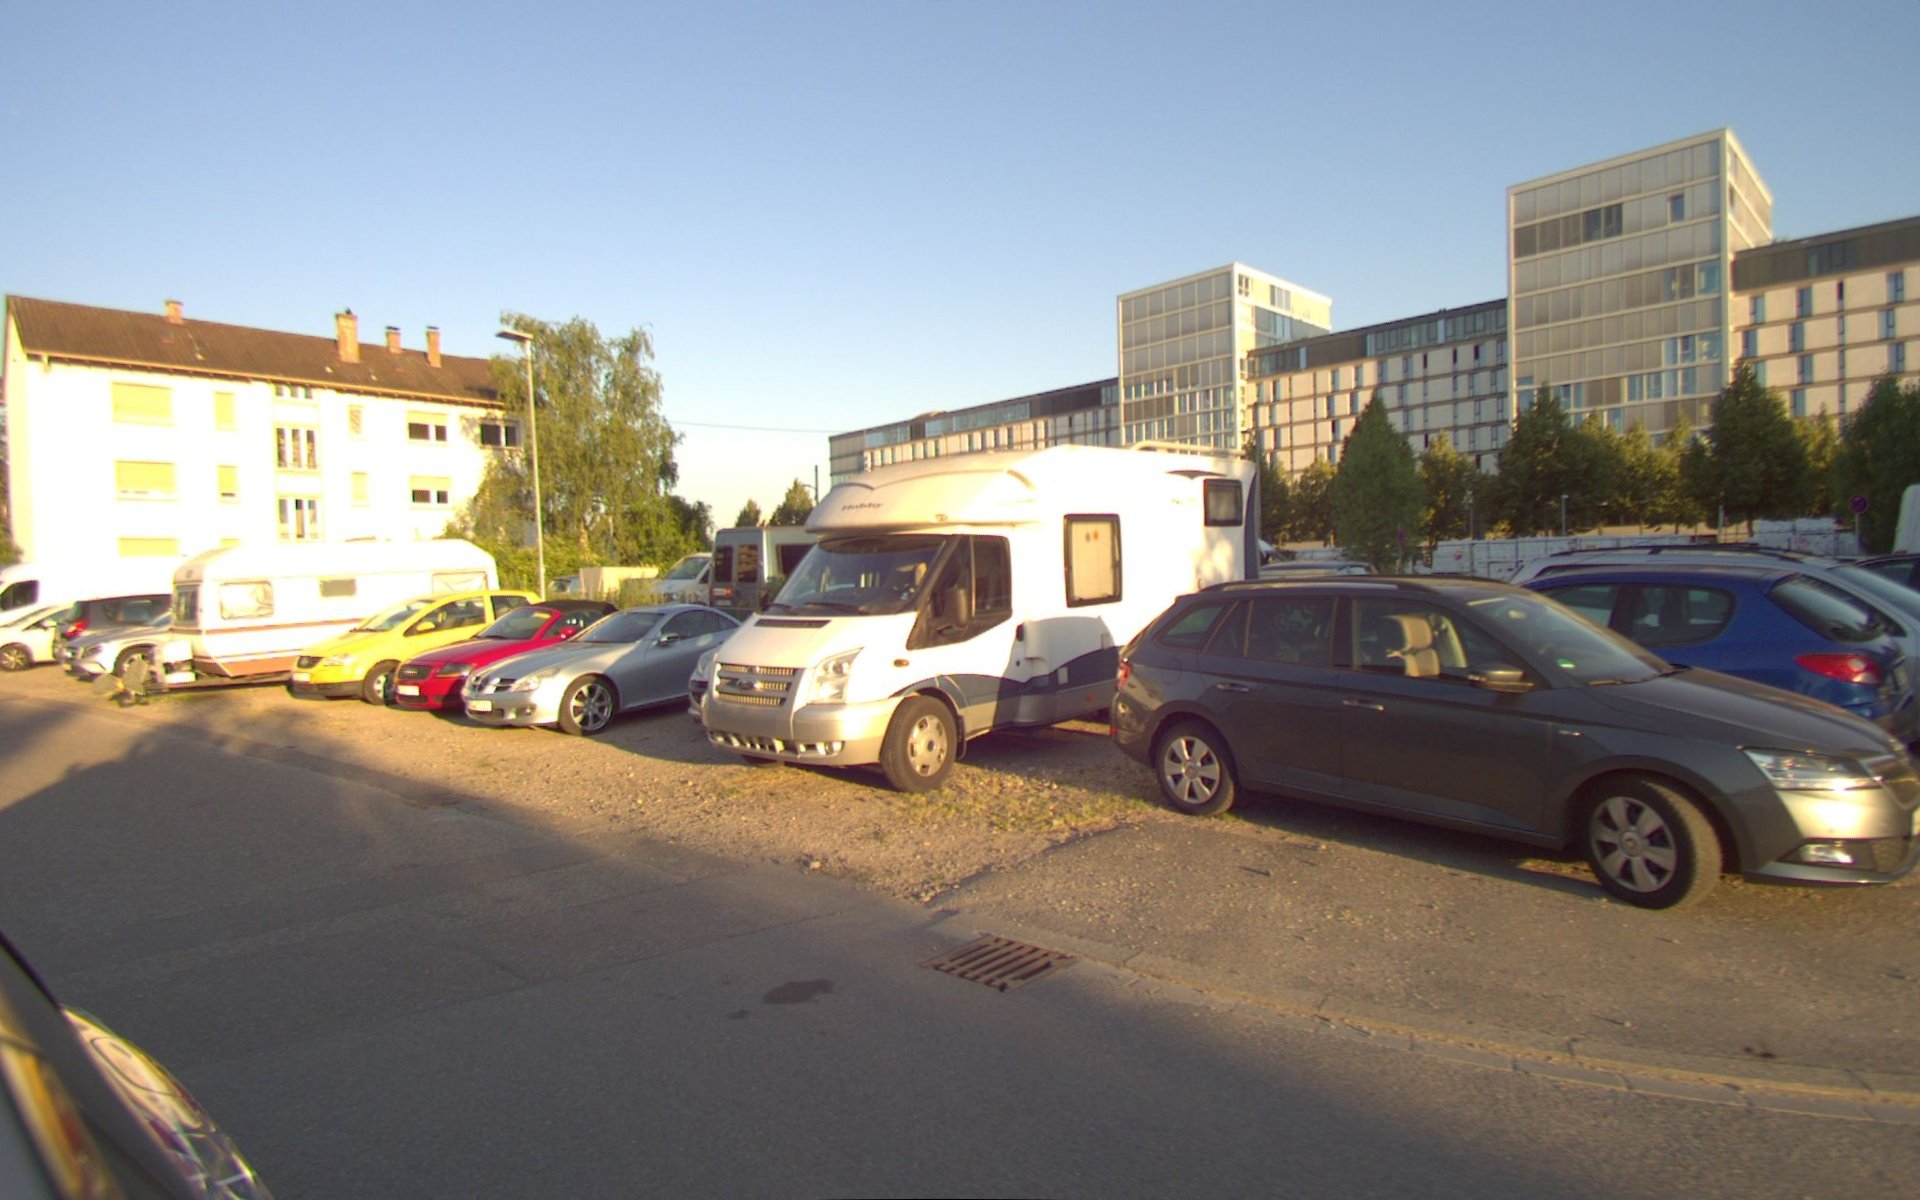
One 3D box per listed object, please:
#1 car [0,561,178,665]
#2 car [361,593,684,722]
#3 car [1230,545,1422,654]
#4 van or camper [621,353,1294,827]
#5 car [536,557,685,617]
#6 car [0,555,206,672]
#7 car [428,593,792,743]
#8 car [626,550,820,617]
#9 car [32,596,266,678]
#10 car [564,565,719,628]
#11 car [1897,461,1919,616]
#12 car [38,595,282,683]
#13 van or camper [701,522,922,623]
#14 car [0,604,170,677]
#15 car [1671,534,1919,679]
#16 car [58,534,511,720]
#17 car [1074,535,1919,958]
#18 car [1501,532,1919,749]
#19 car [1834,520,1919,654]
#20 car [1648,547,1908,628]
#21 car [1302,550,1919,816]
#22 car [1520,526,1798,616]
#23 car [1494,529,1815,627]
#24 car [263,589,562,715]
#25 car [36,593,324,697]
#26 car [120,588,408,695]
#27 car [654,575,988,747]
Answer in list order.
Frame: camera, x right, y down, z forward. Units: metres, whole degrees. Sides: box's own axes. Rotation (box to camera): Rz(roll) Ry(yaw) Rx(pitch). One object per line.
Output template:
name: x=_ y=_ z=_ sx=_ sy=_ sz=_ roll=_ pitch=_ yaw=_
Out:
car: x=-26.578 y=0.352 z=28.894 sx=2.102 sy=2.733 sz=6.353 roll=0 pitch=3 yaw=26
car: x=-5.854 y=0.687 z=13.919 sx=1.701 sy=1.377 sz=3.694 roll=-2 pitch=2 yaw=35
car: x=5.712 y=-0.066 z=15.600 sx=1.515 sy=1.458 sz=3.400 roll=-1 pitch=2 yaw=44
van or camper: x=0.535 y=-0.176 z=9.526 sx=2.408 sy=2.919 sz=6.669 roll=-1 pitch=1 yaw=42
car: x=-9.751 y=-0.393 z=28.424 sx=1.664 sy=1.487 sz=3.568 roll=-1 pitch=2 yaw=40
car: x=-23.357 y=0.313 z=26.126 sx=2.043 sy=2.733 sz=5.784 roll=-2 pitch=2 yaw=31
car: x=-3.995 y=0.685 z=12.067 sx=1.690 sy=1.338 sz=3.773 roll=-2 pitch=2 yaw=37
car: x=-5.911 y=-0.438 z=25.557 sx=4.317 sy=1.487 sz=1.983 roll=-4 pitch=2 yaw=-45
car: x=-18.834 y=0.782 z=23.665 sx=1.743 sy=1.602 sz=3.894 roll=0 pitch=2 yaw=33
car: x=-8.468 y=-0.110 z=27.095 sx=1.664 sy=1.487 sz=3.568 roll=-1 pitch=2 yaw=40
car: x=20.351 y=-1.102 z=16.696 sx=2.180 sy=2.822 sz=6.993 roll=-3 pitch=3 yaw=-42
car: x=-17.230 y=0.779 z=21.931 sx=1.748 sy=1.602 sz=3.884 roll=-1 pitch=1 yaw=42
van or camper: x=-3.006 y=-0.611 z=21.252 sx=1.932 sy=1.905 sz=4.291 roll=-1 pitch=2 yaw=42
car: x=-21.577 y=0.940 z=24.178 sx=1.785 sy=1.518 sz=3.893 roll=-1 pitch=2 yaw=34
car: x=10.627 y=0.032 z=11.057 sx=1.643 sy=1.490 sz=4.411 roll=-4 pitch=5 yaw=-43
car: x=-11.071 y=0.224 z=17.102 sx=2.409 sy=2.552 sz=5.831 roll=0 pitch=3 yaw=39
car: x=2.830 y=0.500 z=5.715 sx=1.666 sy=1.530 sz=4.368 roll=-4 pitch=2 yaw=-40
car: x=6.847 y=0.234 z=8.026 sx=1.643 sy=1.490 sz=4.210 roll=-4 pitch=4 yaw=-42
car: x=13.228 y=-0.140 z=11.810 sx=1.643 sy=1.633 sz=4.411 roll=-4 pitch=5 yaw=-43
car: x=18.585 y=-0.368 z=23.164 sx=1.643 sy=1.633 sz=4.411 roll=-4 pitch=5 yaw=-43
car: x=4.610 y=0.442 z=7.289 sx=1.642 sy=1.433 sz=3.727 roll=-2 pitch=1 yaw=-42
car: x=14.107 y=-0.546 z=20.633 sx=1.643 sy=1.633 sz=4.410 roll=-4 pitch=2 yaw=-43
car: x=12.146 y=-0.333 z=17.944 sx=1.643 sy=1.510 sz=4.410 roll=-4 pitch=2 yaw=-43
car: x=-8.191 y=0.695 z=15.415 sx=1.701 sy=1.530 sz=3.598 roll=-2 pitch=2 yaw=35
car: x=-15.163 y=0.789 z=19.899 sx=1.744 sy=1.602 sz=4.092 roll=-1 pitch=3 yaw=35
car: x=-12.974 y=0.679 z=19.108 sx=1.745 sy=1.602 sz=4.090 roll=0 pitch=3 yaw=36
car: x=-1.373 y=0.537 z=11.213 sx=1.688 sy=1.487 sz=3.575 roll=-2 pitch=2 yaw=34
